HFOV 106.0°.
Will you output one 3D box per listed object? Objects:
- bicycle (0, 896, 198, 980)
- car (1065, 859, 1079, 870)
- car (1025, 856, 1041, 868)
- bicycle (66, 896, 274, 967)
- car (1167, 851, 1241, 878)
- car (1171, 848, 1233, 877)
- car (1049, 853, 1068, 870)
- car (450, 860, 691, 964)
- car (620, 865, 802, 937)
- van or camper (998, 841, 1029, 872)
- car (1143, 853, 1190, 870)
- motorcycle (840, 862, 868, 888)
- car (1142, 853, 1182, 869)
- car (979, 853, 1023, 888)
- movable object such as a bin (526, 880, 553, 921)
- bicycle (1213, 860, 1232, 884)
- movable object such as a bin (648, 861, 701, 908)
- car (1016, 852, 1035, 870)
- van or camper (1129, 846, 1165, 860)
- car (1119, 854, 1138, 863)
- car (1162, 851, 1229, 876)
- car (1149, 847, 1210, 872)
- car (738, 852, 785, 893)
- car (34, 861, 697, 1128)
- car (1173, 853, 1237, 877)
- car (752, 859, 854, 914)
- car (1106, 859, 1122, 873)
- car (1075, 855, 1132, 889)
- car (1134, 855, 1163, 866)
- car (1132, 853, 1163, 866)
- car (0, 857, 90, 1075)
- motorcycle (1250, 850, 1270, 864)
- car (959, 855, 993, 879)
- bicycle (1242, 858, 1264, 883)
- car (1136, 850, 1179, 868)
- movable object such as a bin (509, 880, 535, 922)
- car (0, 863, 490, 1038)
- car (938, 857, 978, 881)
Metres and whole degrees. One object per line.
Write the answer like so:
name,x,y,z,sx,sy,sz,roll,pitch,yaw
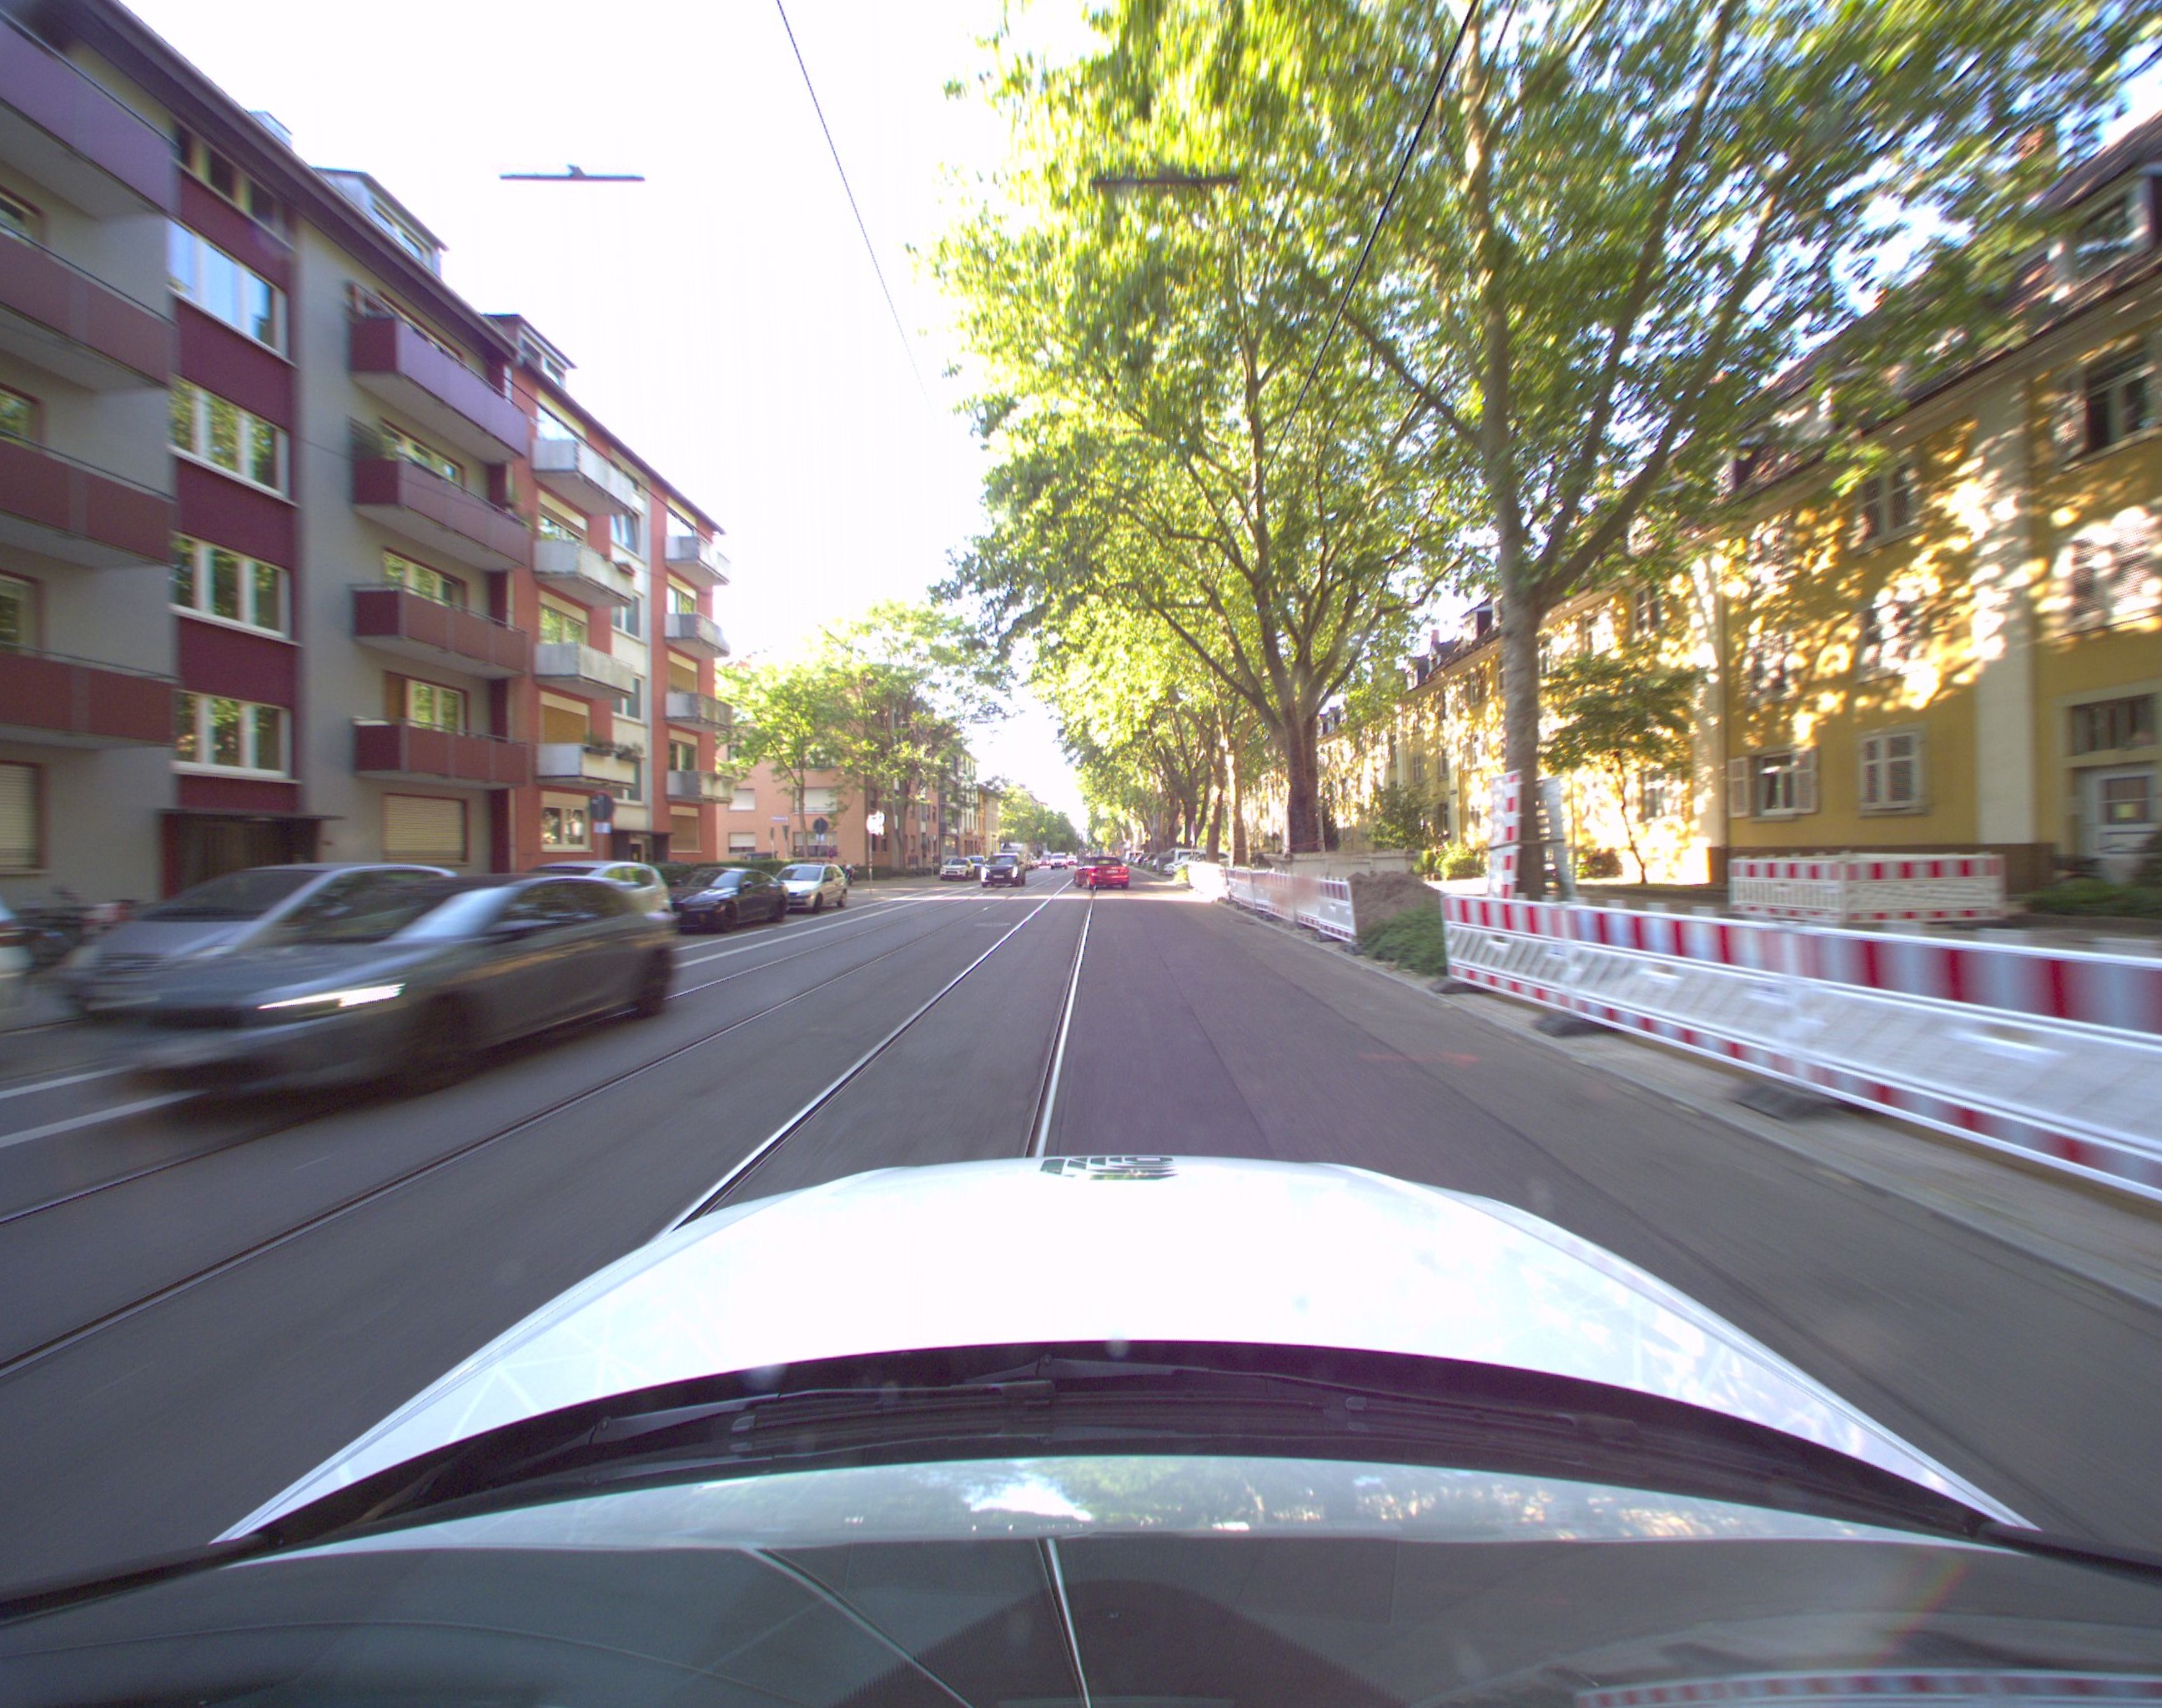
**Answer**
bicycle,-13.840,1.143,11.234,2.444,1.062,0.698,1,0,-2
car,-1.323,1.557,118.866,1.769,1.458,4.203,-2,0,1
car,-6.456,1.074,108.915,1.830,1.468,5.068,2,0,-1
bicycle,-13.805,1.165,12.384,2.283,0.993,0.698,1,0,-2
car,7.189,0.616,47.914,4.075,1.521,1.916,-1,-1,0
car,7.720,0.520,52.189,3.826,1.772,1.919,-1,0,5
car,-2.507,0.861,93.437,1.885,1.832,4.896,-1,0,1
car,-8.897,0.919,14.671,1.814,1.587,4.004,0,0,-1
car,-8.625,1.021,19.582,1.944,1.395,4.865,2,0,2
van or camper,-7.021,0.230,85.708,2.328,3.041,6.401,2,0,2
car,8.001,0.717,76.590,4.232,1.483,1.898,-1,0,1
motorcycle,-12.680,1.151,45.586,0.899,1.280,2.348,-1,2,-1
car,7.987,0.699,80.500,3.825,1.509,1.711,-1,0,1
car,-3.910,0.754,40.394,1.848,1.600,4.460,-1,0,-2
movable object such as a bin,-13.491,1.155,20.295,0.431,1.006,0.352,-1,0,3
bicycle,6.812,0.850,39.210,0.633,1.070,1.809,-1,0,2
movable object such as a bin,-12.424,0.920,24.925,1.206,1.365,0.747,-1,0,2
car,-6.635,0.800,98.375,1.946,2.091,5.247,2,1,-1
van or camper,10.568,-0.126,131.148,5.543,2.013,2.242,-1,2,-4
car,9.944,0.985,171.198,3.972,1.784,2.001,-1,0,1
car,7.570,0.637,54.218,4.350,1.542,1.804,-1,1,5
car,8.157,0.443,67.683,4.822,1.963,2.064,-1,0,-1
car,-17.816,0.999,45.331,2.004,2.123,4.681,0,-1,-27
car,-5.121,0.833,6.760,1.789,1.446,4.054,-2,0,2
car,7.609,0.674,50.227,3.826,1.433,1.854,-1,0,5
car,-8.385,0.934,24.920,1.719,1.483,3.930,1,0,0
car,4.051,1.474,100.719,1.911,1.584,3.792,-2,0,1
car,0.920,0.760,36.003,1.792,1.389,4.223,0,0,-9
car,8.712,0.811,104.869,3.636,1.378,1.890,-1,0,1
car,8.681,0.679,107.095,3.912,1.670,1.960,-1,0,-1
car,-9.205,0.832,4.277,1.946,1.648,4.881,1,0,0
motorcycle,18.537,0.282,84.326,1.798,1.361,0.622,-4,0,-2
car,-7.517,0.906,58.677,1.775,1.610,4.588,2,0,0
bicycle,8.207,0.765,38.962,0.688,1.154,1.949,-1,0,2
car,8.144,0.545,86.958,4.475,1.602,2.030,-3,0,5
movable object such as a bin,-13.923,1.171,20.285,0.398,1.006,0.352,-1,0,3
car,-9.082,0.906,9.388,1.619,1.572,3.783,1,0,3
car,-8.012,0.968,53.269,1.799,1.478,4.092,1,0,2
